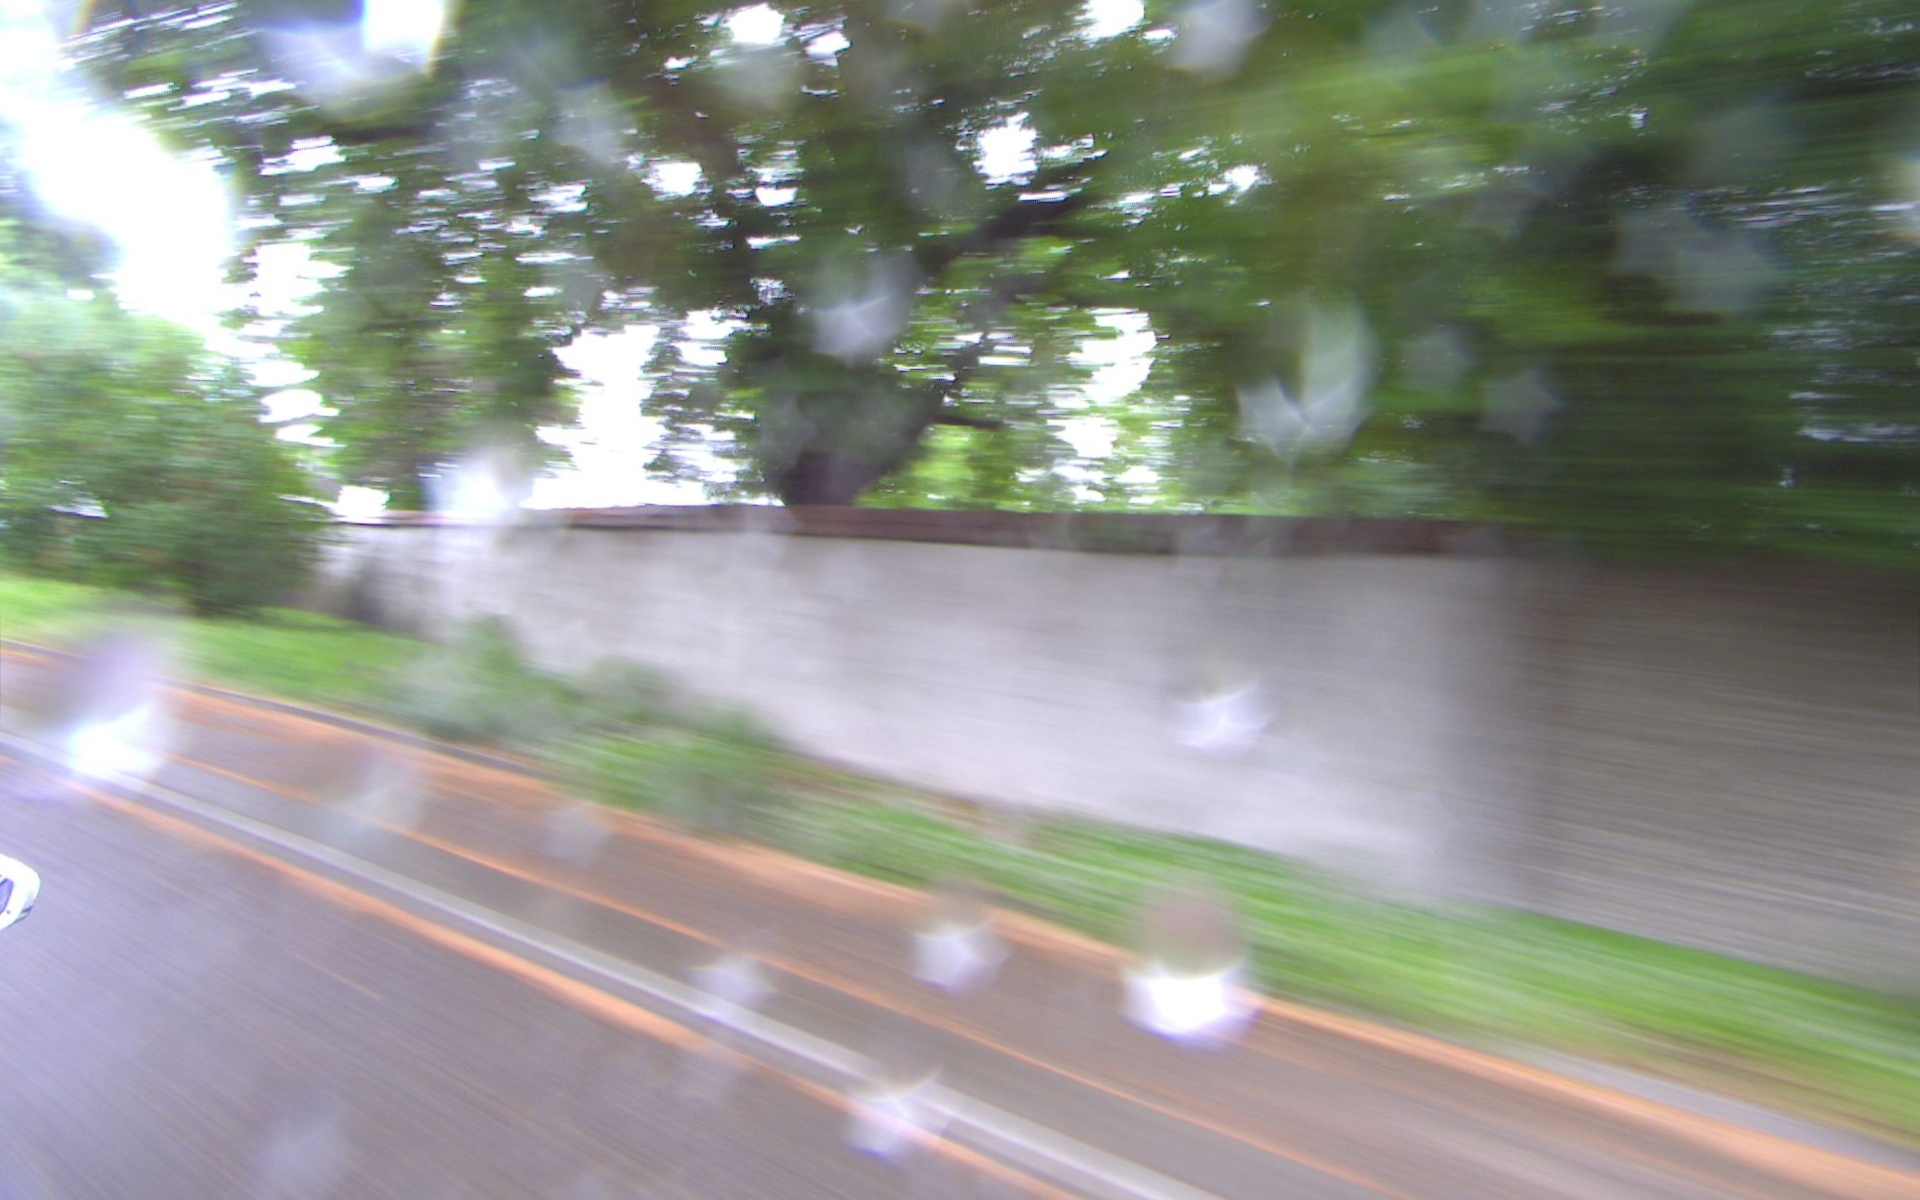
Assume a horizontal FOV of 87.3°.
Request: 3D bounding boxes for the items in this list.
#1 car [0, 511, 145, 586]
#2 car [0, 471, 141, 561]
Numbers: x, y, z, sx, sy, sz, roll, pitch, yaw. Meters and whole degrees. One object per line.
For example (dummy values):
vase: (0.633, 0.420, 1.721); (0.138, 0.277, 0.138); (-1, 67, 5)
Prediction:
car: (-23.789, -1.426, 25.684); (1.804, 1.458, 4.182); (6, -3, 34)
car: (-19.236, -1.816, 20.223); (1.829, 1.472, 3.981); (6, -2, 42)
